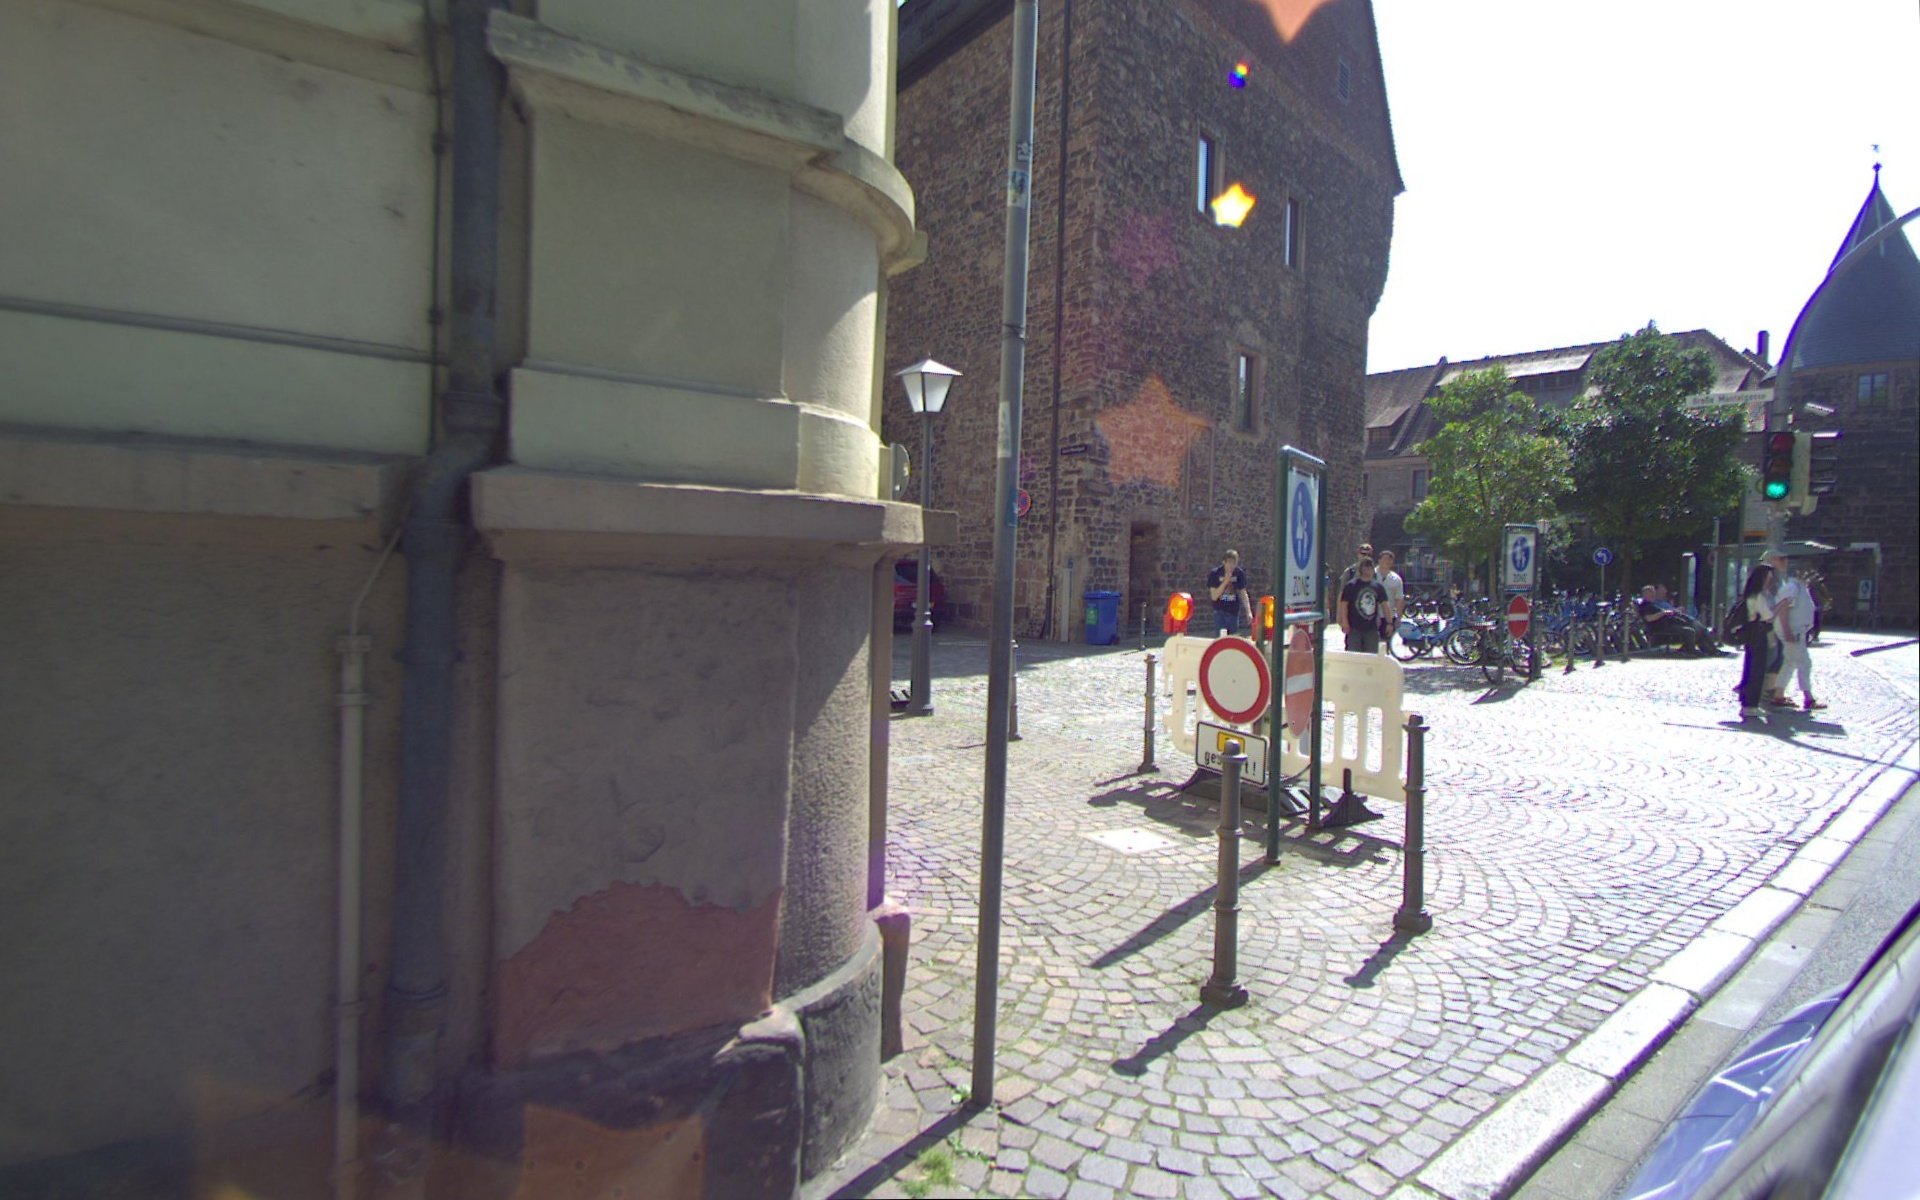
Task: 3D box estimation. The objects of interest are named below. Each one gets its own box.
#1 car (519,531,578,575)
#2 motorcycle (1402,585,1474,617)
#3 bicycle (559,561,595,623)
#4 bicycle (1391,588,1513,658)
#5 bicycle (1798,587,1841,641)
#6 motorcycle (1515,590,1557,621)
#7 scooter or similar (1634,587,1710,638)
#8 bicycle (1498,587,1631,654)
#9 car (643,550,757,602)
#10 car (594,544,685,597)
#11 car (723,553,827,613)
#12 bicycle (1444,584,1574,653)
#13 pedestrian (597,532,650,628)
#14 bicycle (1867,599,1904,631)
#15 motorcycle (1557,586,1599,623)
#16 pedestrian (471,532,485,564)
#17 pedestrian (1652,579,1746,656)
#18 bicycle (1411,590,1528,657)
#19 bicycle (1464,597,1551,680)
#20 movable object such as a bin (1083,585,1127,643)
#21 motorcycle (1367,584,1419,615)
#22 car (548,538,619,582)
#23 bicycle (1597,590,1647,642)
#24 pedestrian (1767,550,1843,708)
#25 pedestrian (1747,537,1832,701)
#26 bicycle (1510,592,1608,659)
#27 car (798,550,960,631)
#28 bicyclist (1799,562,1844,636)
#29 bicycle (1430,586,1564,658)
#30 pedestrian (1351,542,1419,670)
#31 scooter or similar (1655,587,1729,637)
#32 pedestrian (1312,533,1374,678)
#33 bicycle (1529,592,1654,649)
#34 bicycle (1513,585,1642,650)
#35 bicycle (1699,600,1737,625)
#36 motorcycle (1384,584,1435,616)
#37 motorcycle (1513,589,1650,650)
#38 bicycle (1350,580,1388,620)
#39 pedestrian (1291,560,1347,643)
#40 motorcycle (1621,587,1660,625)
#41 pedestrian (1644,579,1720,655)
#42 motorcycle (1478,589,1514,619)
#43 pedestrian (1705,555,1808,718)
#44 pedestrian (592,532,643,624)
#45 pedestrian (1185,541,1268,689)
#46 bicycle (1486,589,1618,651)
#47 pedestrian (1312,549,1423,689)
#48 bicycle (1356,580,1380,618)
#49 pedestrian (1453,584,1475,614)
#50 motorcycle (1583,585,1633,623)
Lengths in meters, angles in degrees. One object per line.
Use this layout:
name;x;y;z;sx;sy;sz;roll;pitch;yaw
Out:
car;-20.083;-2.288;49.286;1.961;2.016;4.090;0;2;-33
motorcycle;18.383;0.030;38.958;0.861;1.161;2.344;0;1;-37
bicycle;-8.035;-0.191;21.202;0.315;1.224;1.823;1;2;-33
bicycle;8.470;0.372;17.479;0.553;1.124;1.795;2;0;-41
bicycle;19.625;0.296;23.095;0.688;1.143;1.979;3;2;41
motorcycle;21.659;0.204;38.038;1.874;1.107;0.876;0;2;-45
scooter or similar;17.626;0.287;25.080;0.640;1.231;1.433;0;0;-41
bicycle;11.793;0.377;19.805;0.763;1.213;2.083;2;0;-42
car;-8.331;-0.796;32.243;1.964;1.519;4.173;0;2;-39
car;-11.649;-1.087;36.685;1.964;1.796;3.606;0;3;-39
car;-5.161;-0.492;28.055;1.597;1.518;3.002;0;3;-39
bicycle;10.263;0.325;18.995;0.518;1.213;2.083;2;0;-42
pedestrian;-6.818;-0.411;20.495;0.790;1.875;0.866;1;2;-34
bicycle;36.272;0.565;39.644;1.812;1.167;0.844;0;2;-42
motorcycle;21.817;0.154;35.731;1.774;1.247;0.671;1;0;-39
pedestrian;-30.638;-3.315;64.349;0.631;2.038;0.647;1;2;-36
pedestrian;13.521;0.295;18.538;0.682;1.324;1.249;0;2;-42
bicycle;9.202;0.407;18.326;0.597;1.124;1.795;2;0;-41
bicycle;7.685;0.510;14.186;1.552;1.016;0.509;-4;4;-39
movable object such as a bin;2.938;0.270;20.540;0.738;1.138;0.490;0;2;-41
motorcycle;18.285;-0.009;42.741;2.003;1.251;0.601;1;2;-15
car;-16.830;-1.804;45.121;1.962;1.858;4.177;0;2;-35
bicycle;15.676;0.349;24.002;0.540;1.145;1.727;2;2;19
pedestrian;9.661;0.309;11.570;0.654;1.733;0.527;0;2;-41
pedestrian;9.892;0.206;12.068;0.717;1.875;0.617;0;2;-40
bicycle;13.349;0.591;22.598;0.711;1.215;1.551;2;-13;-34
car;-1.996;-0.283;23.765;1.902;1.722;4.176;0;2;-35
bicyclist;19.699;-0.038;23.135;0.708;1.648;0.873;3;2;42
bicycle;9.824;0.378;18.597;0.597;1.213;2.083;2;0;-41
pedestrian;6.130;0.070;14.658;0.795;1.775;0.903;2;2;20
scooter or similar;18.776;0.295;25.964;0.640;1.231;1.433;0;0;-41
pedestrian;5.473;0.061;14.496;0.646;1.984;0.936;2;1;14
bicycle;12.975;0.394;20.843;0.787;1.079;2.027;2;0;-42
bicycle;12.365;0.323;20.322;0.763;1.213;2.083;2;0;-42
bicycle;31.190;0.515;41.645;1.679;1.015;0.660;1;1;-31
motorcycle;18.746;0.001;42.215;2.003;1.251;0.601;1;2;-16
motorcycle;12.405;0.372;20.275;0.763;1.118;2.207;2;0;-42
bicycle;12.734;-0.013;31.493;0.524;1.175;1.899;3;2;39
pedestrian;7.933;0.020;22.368;0.944;1.782;0.760;0;2;-41
motorcycle;23.330;0.194;34.663;2.180;1.251;0.658;0;2;-45
pedestrian;12.956;0.291;18.172;0.682;1.298;0.962;0;2;-42
motorcycle;20.213;0.154;38.148;1.897;1.094;0.630;2;1;-45
pedestrian;8.698;0.366;11.055;0.670;1.696;0.716;0;2;-41
pedestrian;-7.250;-0.469;21.400;0.790;1.875;0.866;1;2;-34
pedestrian;3.668;0.191;13.979;0.788;1.965;0.792;1;1;-10
bicycle;11.274;0.352;19.323;0.594;1.099;2.083;2;0;-42
pedestrian;5.416;0.230;13.504;0.969;1.787;0.929;1;1;-10
bicycle;13.304;-0.050;33.027;0.540;1.167;1.916;2;2;18
pedestrian;25.351;-0.059;50.909;0.660;1.439;0.663;0;2;-10
motorcycle;22.491;0.137;35.106;2.230;1.251;0.741;0;2;-39
